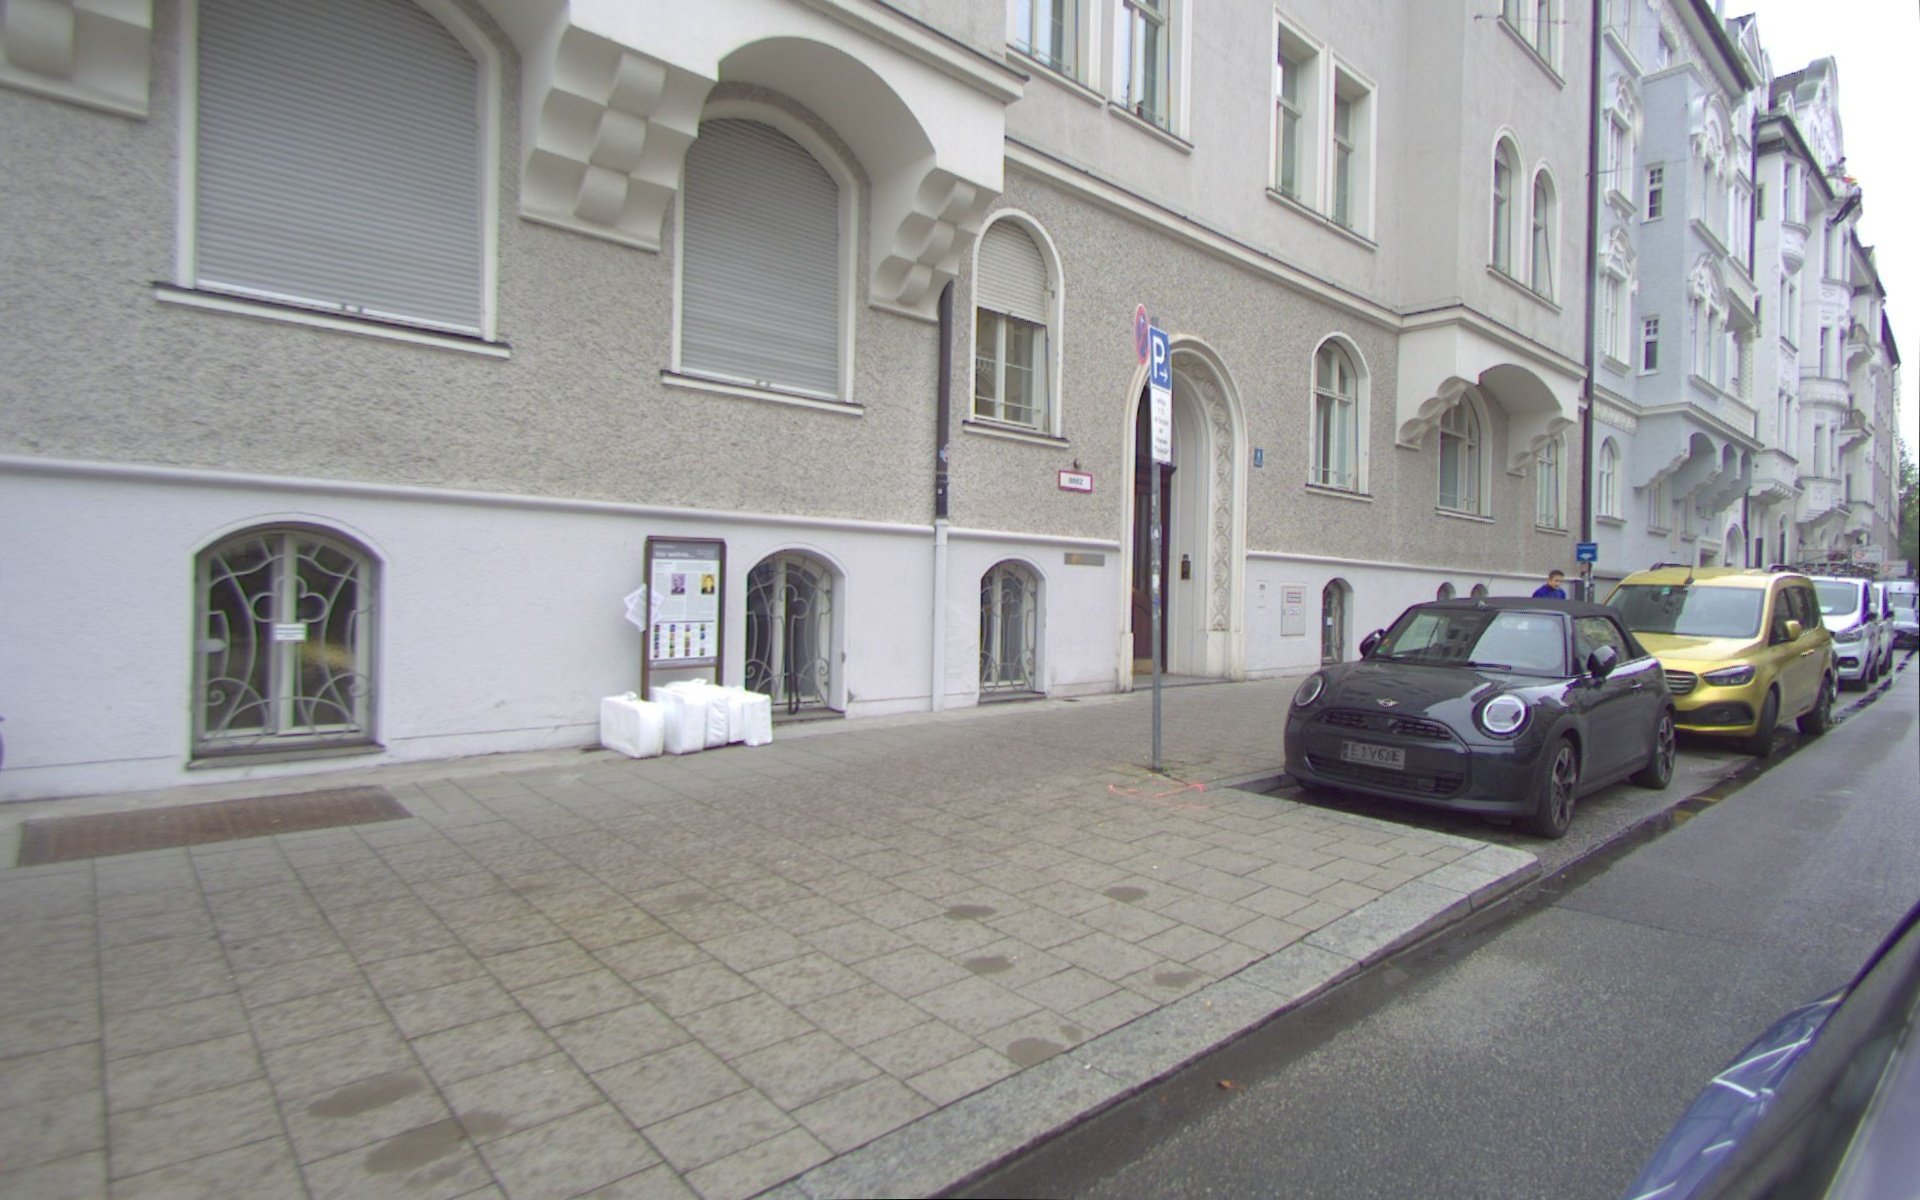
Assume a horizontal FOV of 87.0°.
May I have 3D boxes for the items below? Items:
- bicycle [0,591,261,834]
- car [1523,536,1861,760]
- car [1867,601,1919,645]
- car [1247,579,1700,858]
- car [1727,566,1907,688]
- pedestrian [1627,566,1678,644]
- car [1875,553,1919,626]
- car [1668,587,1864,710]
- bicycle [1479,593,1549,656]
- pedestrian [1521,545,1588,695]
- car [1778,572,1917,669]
[{"bbox_3d":[-5.188,0.550,5.040,2.710,1.126,0.840,0,4,-43],"label":"bicycle"},{"bbox_3d":[8.086,0.388,11.012,4.491,1.942,1.997,0,1,-41],"label":"car"},{"bbox_3d":[33.359,0.768,35.631,4.173,1.425,1.790,0,1,-44],"label":"car"},{"bbox_3d":[3.859,0.626,7.328,3.762,1.463,1.715,0,1,-43],"label":"car"},{"bbox_3d":[15.800,0.413,18.569,4.804,1.942,1.996,0,1,-44],"label":"car"},{"bbox_3d":[17.416,0.107,25.451,0.732,1.926,0.853,1,1,-40],"label":"pedestrian"},{"bbox_3d":[37.927,-0.391,40.093,5.355,2.721,2.079,0,3,-44],"label":"car"},{"bbox_3d":[11.762,0.611,14.679,3.818,1.533,1.636,0,1,-42],"label":"car"},{"bbox_3d":[10.672,0.454,19.477,1.693,1.147,0.667,0,1,-43],"label":"bicycle"},{"bbox_3d":[8.340,0.272,14.198,0.714,2.039,0.584,1,0,-41],"label":"pedestrian"},{"bbox_3d":[20.282,0.404,23.052,4.797,1.942,1.995,0,1,-44],"label":"car"}]
